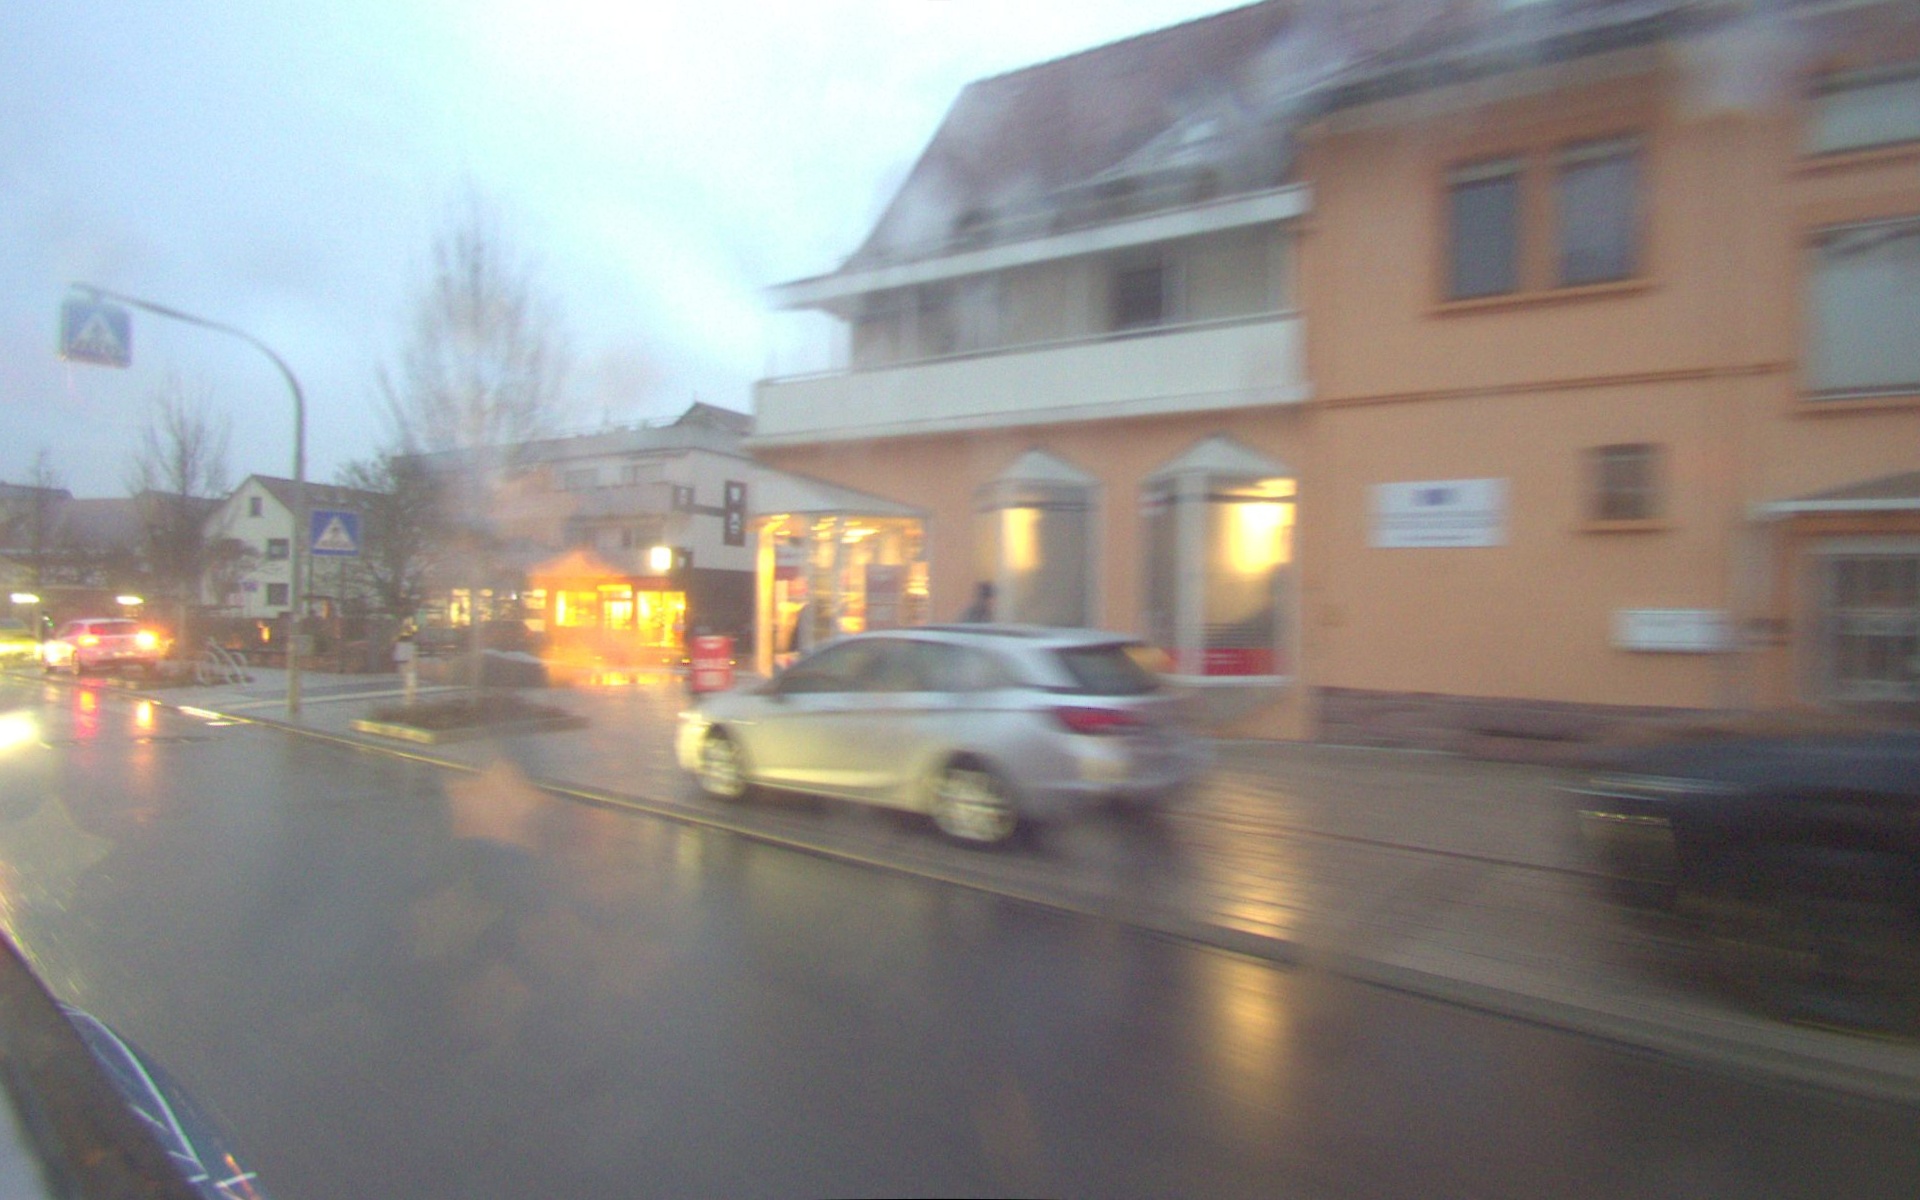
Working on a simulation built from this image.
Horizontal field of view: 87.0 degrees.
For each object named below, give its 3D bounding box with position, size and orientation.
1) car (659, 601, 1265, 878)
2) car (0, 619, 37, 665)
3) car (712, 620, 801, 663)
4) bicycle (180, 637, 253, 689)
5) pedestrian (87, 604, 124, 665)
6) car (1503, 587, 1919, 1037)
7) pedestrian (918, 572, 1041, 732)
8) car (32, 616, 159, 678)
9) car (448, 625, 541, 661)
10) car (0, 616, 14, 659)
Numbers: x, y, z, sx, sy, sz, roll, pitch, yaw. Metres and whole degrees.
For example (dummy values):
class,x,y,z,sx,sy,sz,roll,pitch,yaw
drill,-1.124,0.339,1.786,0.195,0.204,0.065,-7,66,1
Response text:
class,x,y,z,sx,sy,sz,roll,pitch,yaw
car,-0.197,0.821,8.027,4.616,1.570,1.974,-1,0,40
car,-32.185,1.376,33.475,4.370,1.442,1.678,-1,0,37
car,-9.273,1.884,46.391,1.990,1.858,3.963,0,-2,27
bicycle,-15.640,1.337,21.281,1.733,1.070,0.322,-2,-7,23
pedestrian,-28.660,1.154,33.953,0.890,2.029,0.791,1,-2,-44
car,4.829,0.724,3.456,4.973,1.534,1.974,-1,-1,39
pedestrian,0.212,0.553,11.216,1.095,1.671,0.819,-1,-1,37
car,-23.400,1.205,27.355,4.175,1.500,1.768,0,0,37
car,-21.812,1.982,47.388,3.983,1.576,1.980,0,-2,30
car,-36.346,1.365,36.897,3.660,1.546,1.860,0,0,33
